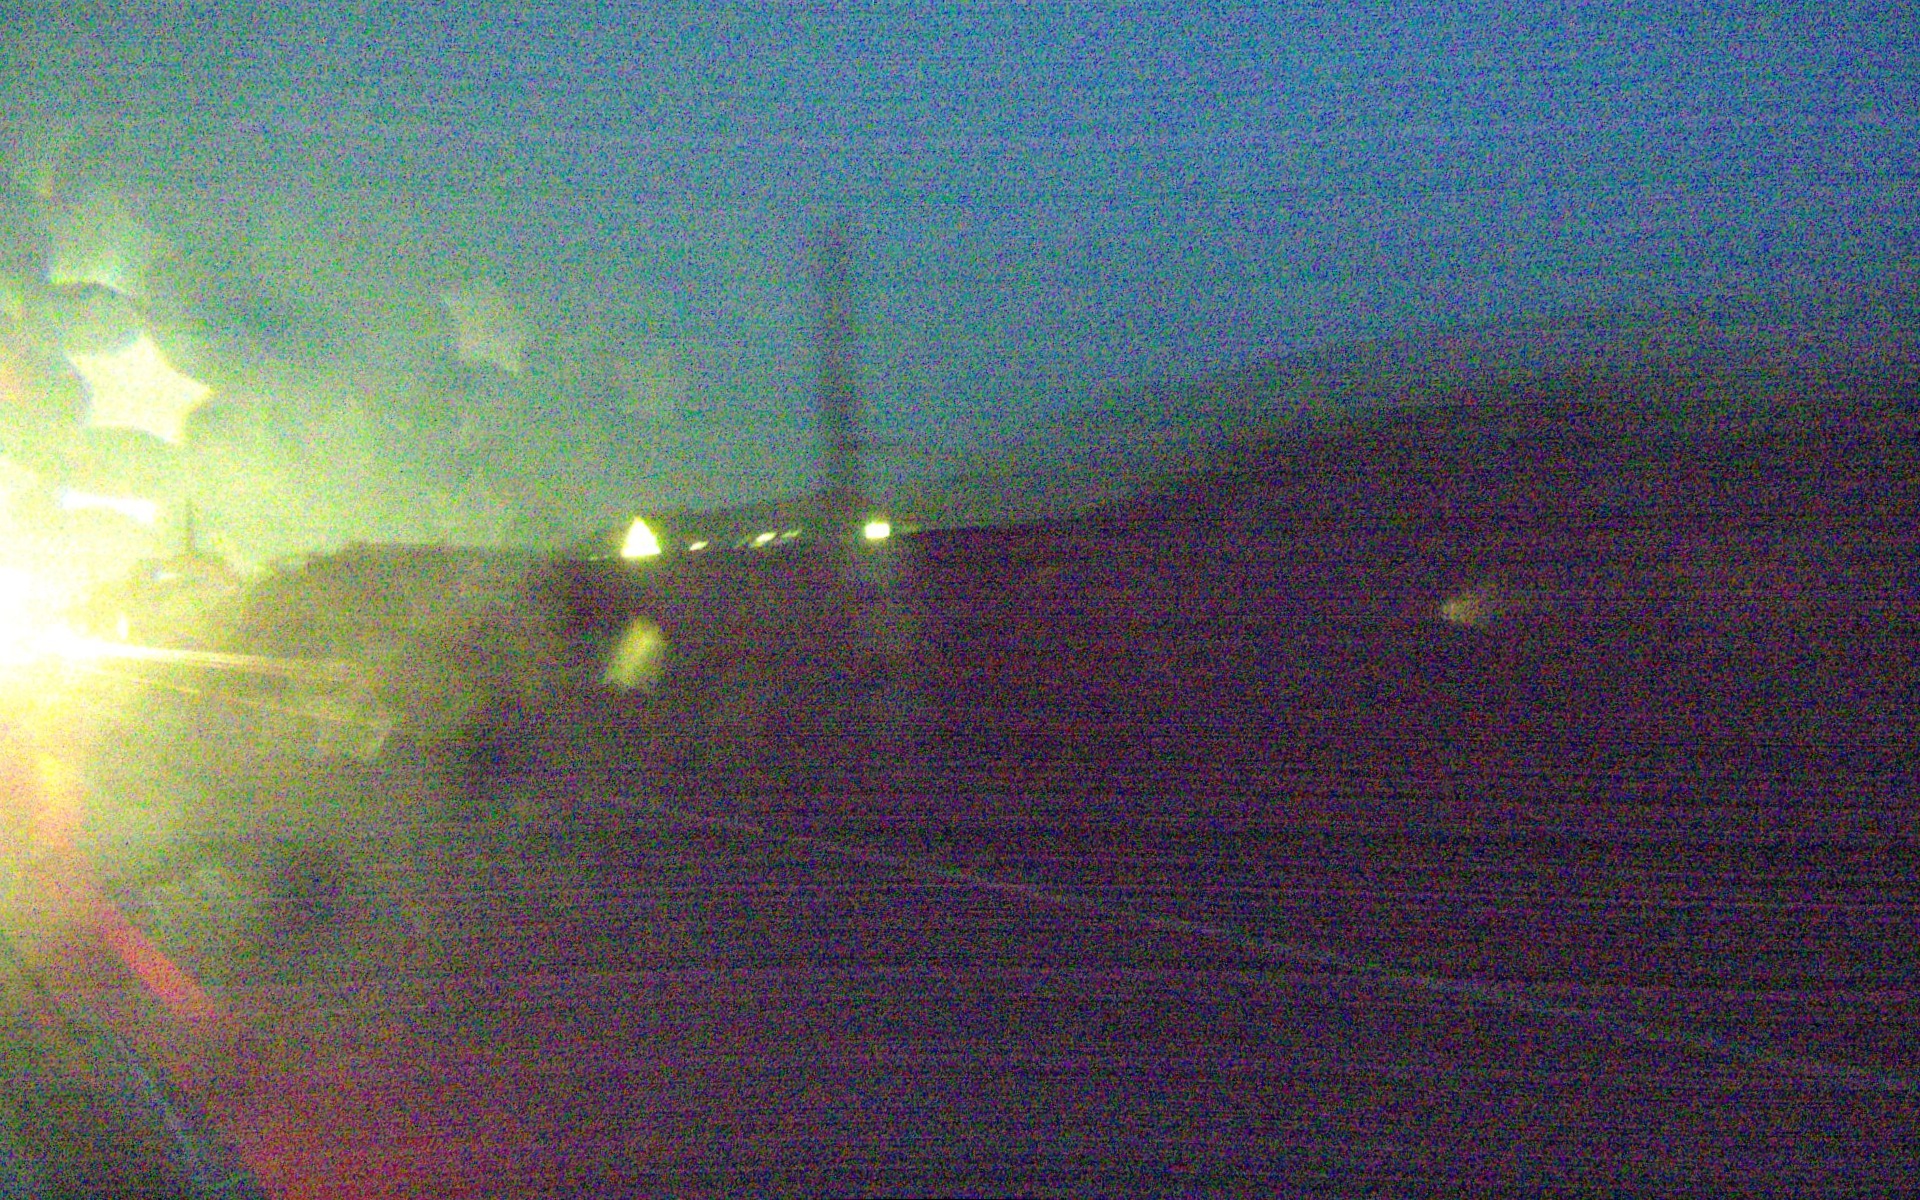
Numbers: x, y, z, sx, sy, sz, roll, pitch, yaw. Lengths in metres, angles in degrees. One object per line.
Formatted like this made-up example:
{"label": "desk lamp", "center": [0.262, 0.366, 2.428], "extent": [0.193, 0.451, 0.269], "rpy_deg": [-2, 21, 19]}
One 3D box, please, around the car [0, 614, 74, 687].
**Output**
{"label": "car", "center": [-23.139, 1.198, 24.706], "extent": [4.026, 1.658, 1.899], "rpy_deg": [-2, -1, 43]}
